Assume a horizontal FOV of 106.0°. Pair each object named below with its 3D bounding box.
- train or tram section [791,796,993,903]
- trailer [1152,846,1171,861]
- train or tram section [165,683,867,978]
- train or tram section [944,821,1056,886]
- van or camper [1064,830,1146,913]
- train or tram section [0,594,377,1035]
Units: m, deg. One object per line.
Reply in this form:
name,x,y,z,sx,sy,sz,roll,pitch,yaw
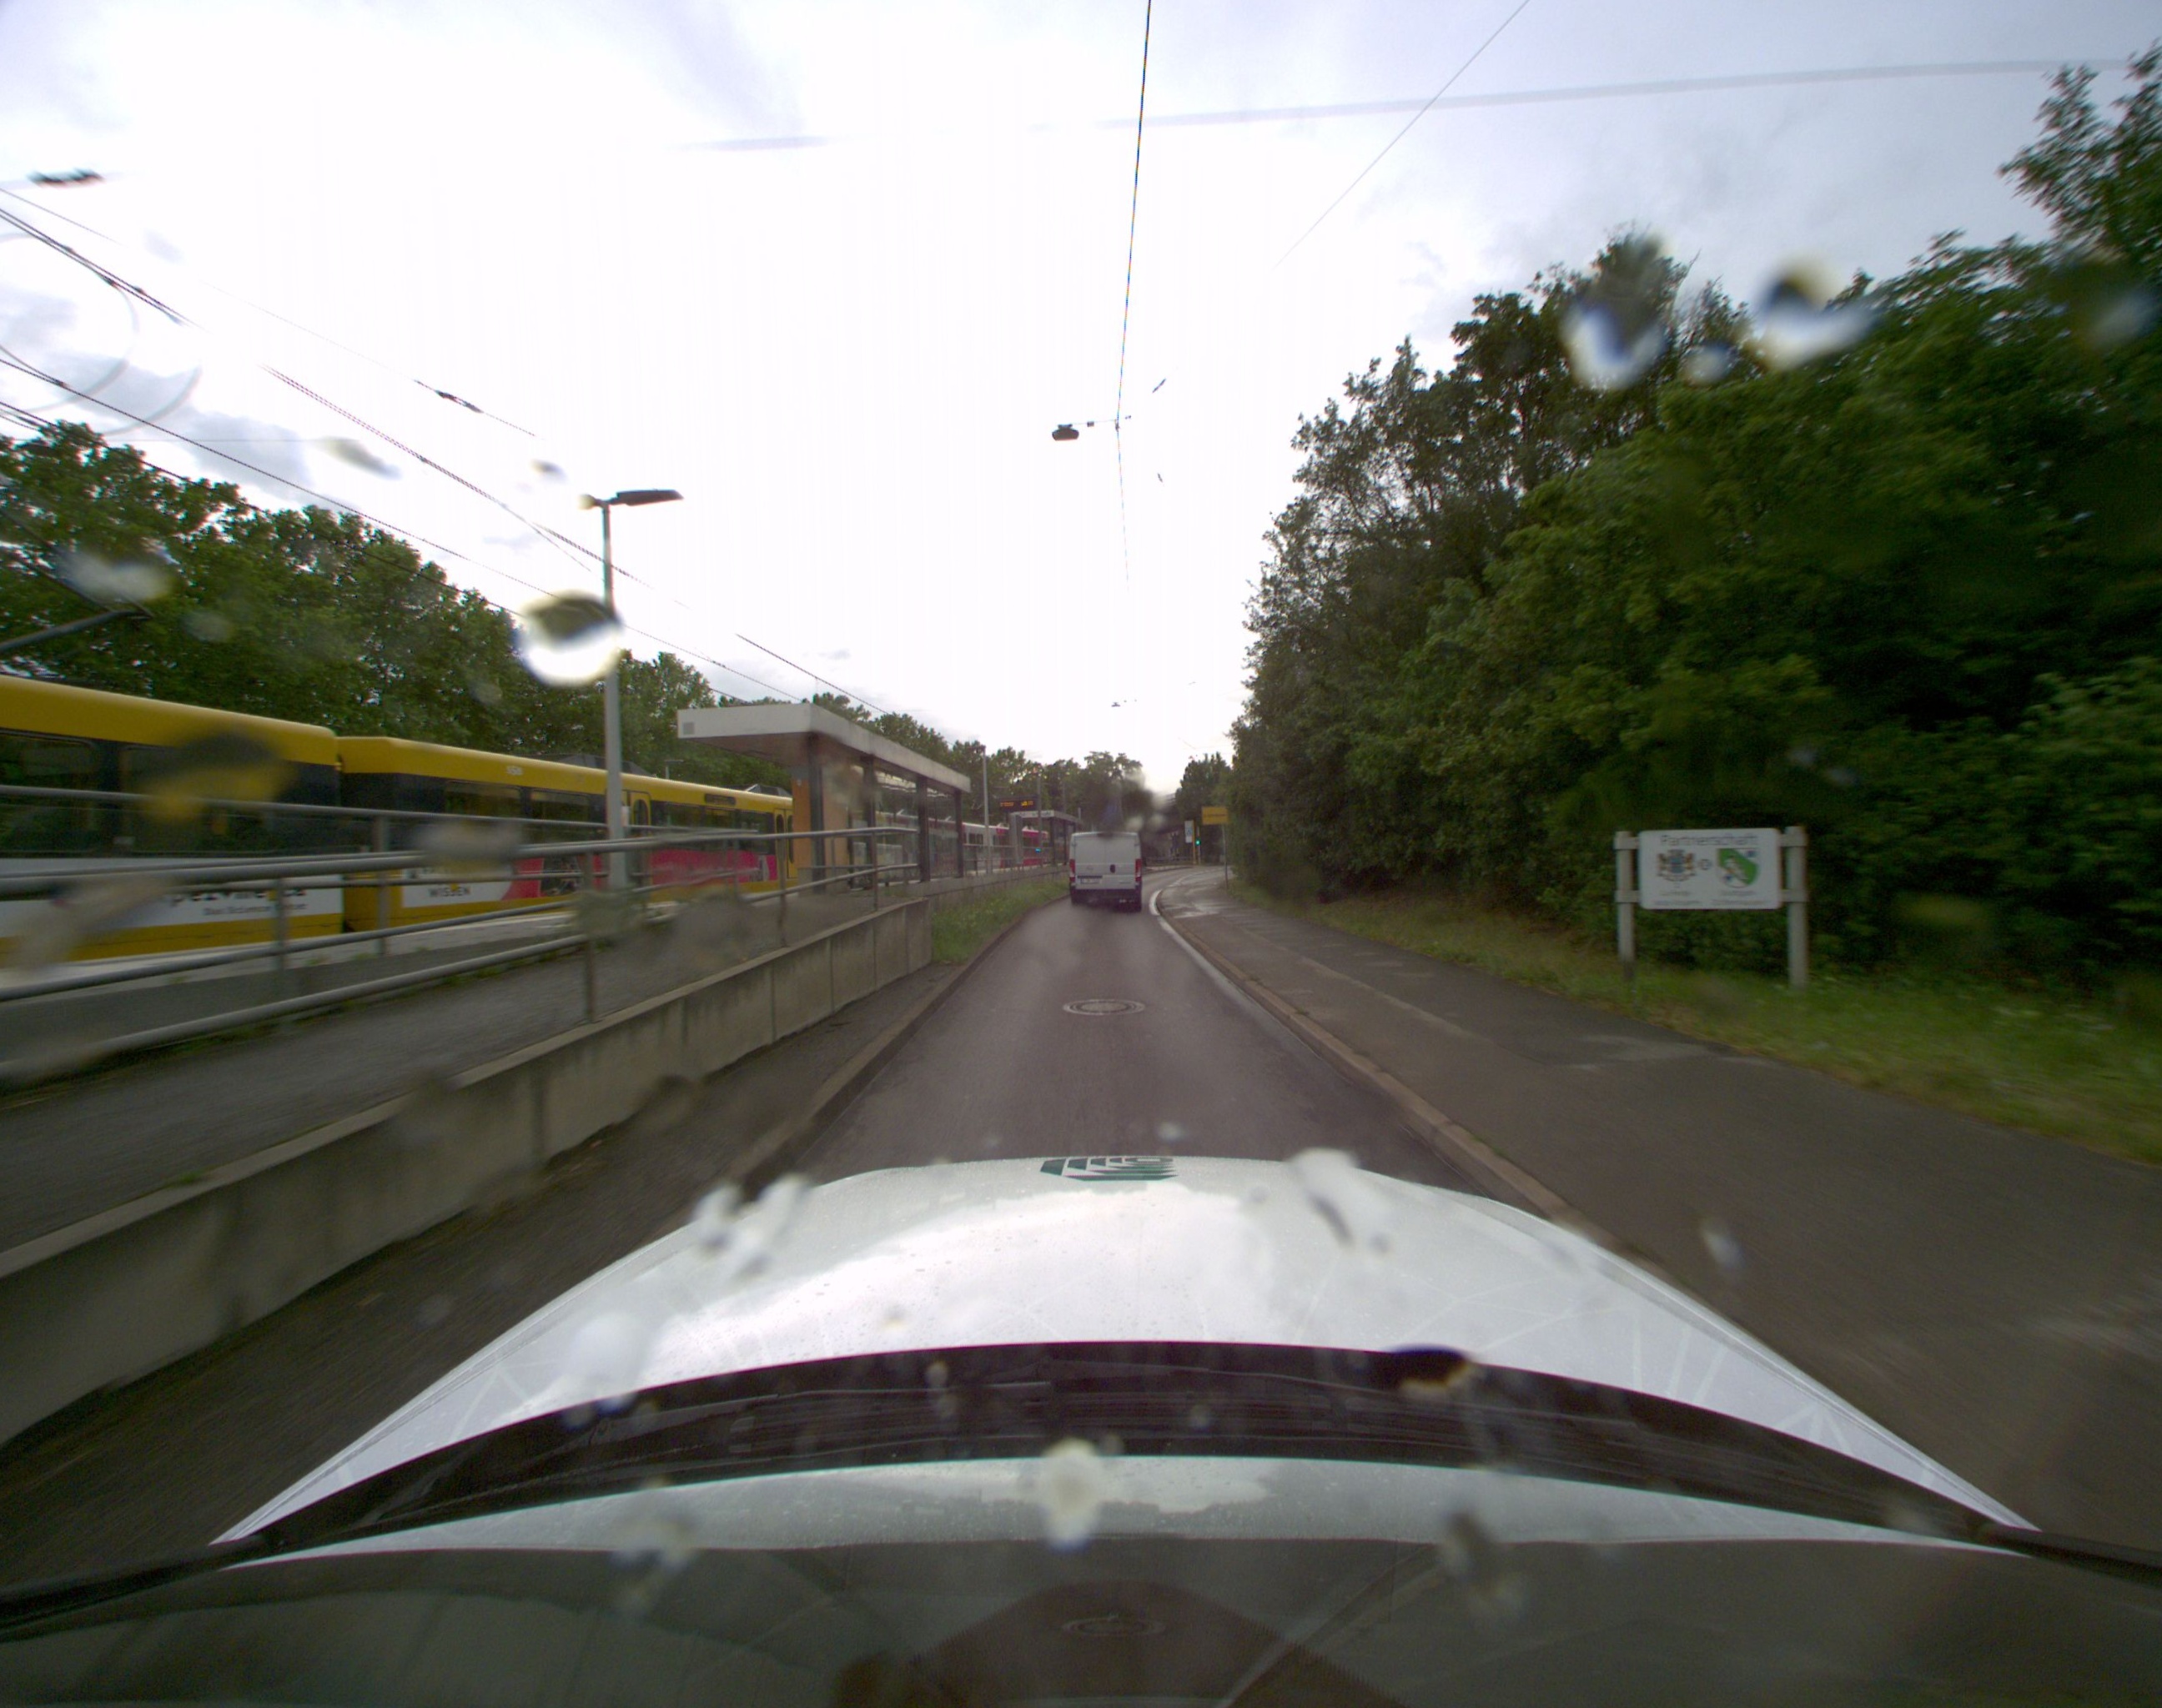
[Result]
train or tram section,-8.092,-0.065,39.891,2.852,3.971,19.371,0,-1,8
trailer,14.730,-0.041,149.193,1.997,2.725,4.102,0,-1,-15
train or tram section,-10.206,-0.225,20.654,2.854,3.954,19.355,0,-1,5
train or tram section,-5.218,0.056,59.126,2.850,3.961,19.384,0,-1,10
van or camper,0.842,0.493,24.599,2.188,2.253,4.690,0,-1,5
train or tram section,-11.455,-0.423,1.397,2.856,3.973,19.343,0,-1,3
